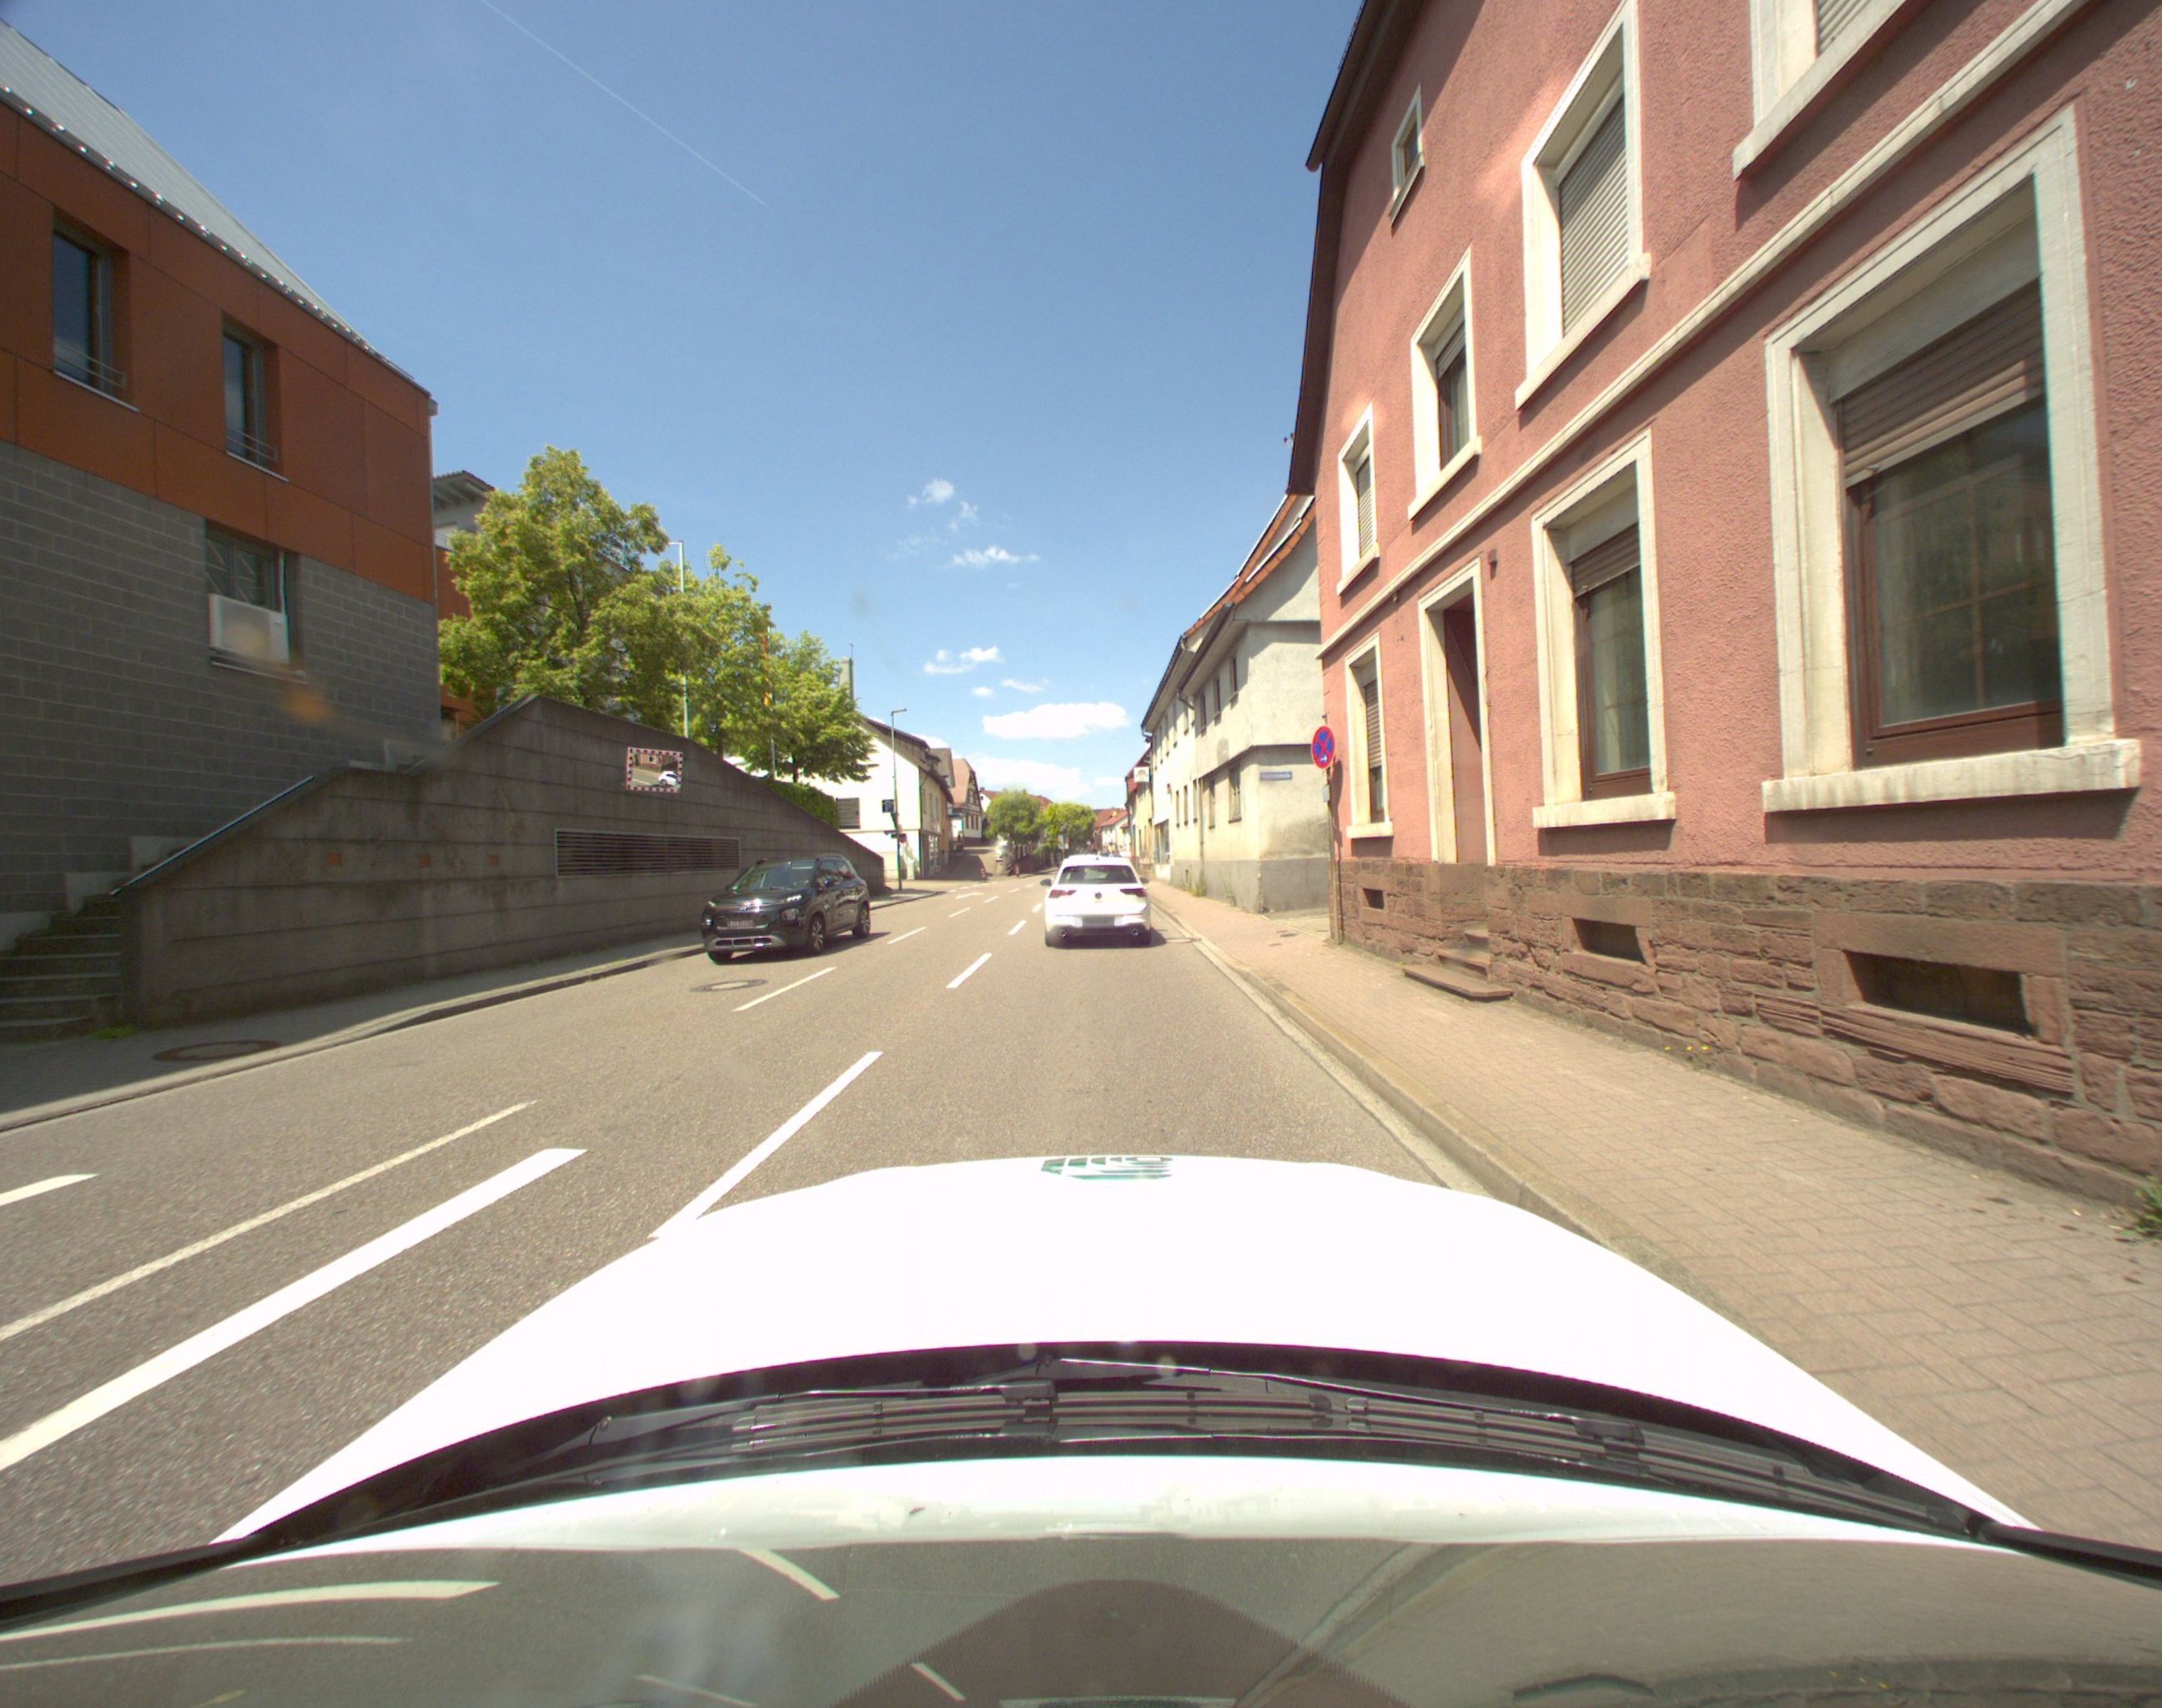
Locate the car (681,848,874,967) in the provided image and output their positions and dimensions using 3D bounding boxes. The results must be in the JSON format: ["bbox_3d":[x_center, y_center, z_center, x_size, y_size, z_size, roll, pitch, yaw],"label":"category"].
[{"bbox_3d":[-5.011,0.795,14.085,1.664,1.657,4.018,-4,0,1],"label":"car"}]

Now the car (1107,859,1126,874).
[{"bbox_3d":[4.159,1.434,94.899,1.766,1.538,4.008,-2,0,7],"label":"car"}]

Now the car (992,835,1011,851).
[{"bbox_3d":[-8.576,-1.194,87.806,1.571,1.361,3.857,-1,6,0],"label":"car"}]

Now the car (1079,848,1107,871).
[{"bbox_3d":[0.825,0.359,54.575,1.801,1.467,4.001,0,0,2],"label":"car"}]

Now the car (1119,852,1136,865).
[{"bbox_3d":[6.352,0.585,110.792,1.764,1.765,4.013,-2,0,11],"label":"car"}]

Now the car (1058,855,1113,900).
[{"bbox_3d":[0.118,0.791,28.927,1.802,1.467,3.998,0,0,-1],"label":"car"}]

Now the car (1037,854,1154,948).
[{"bbox_3d":[0.397,0.739,14.654,1.799,1.467,4.006,0,0,5],"label":"car"}]

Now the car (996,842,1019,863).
[{"bbox_3d":[-6.768,-0.123,75.090,1.688,1.542,3.857,-1,6,0],"label":"car"}]
